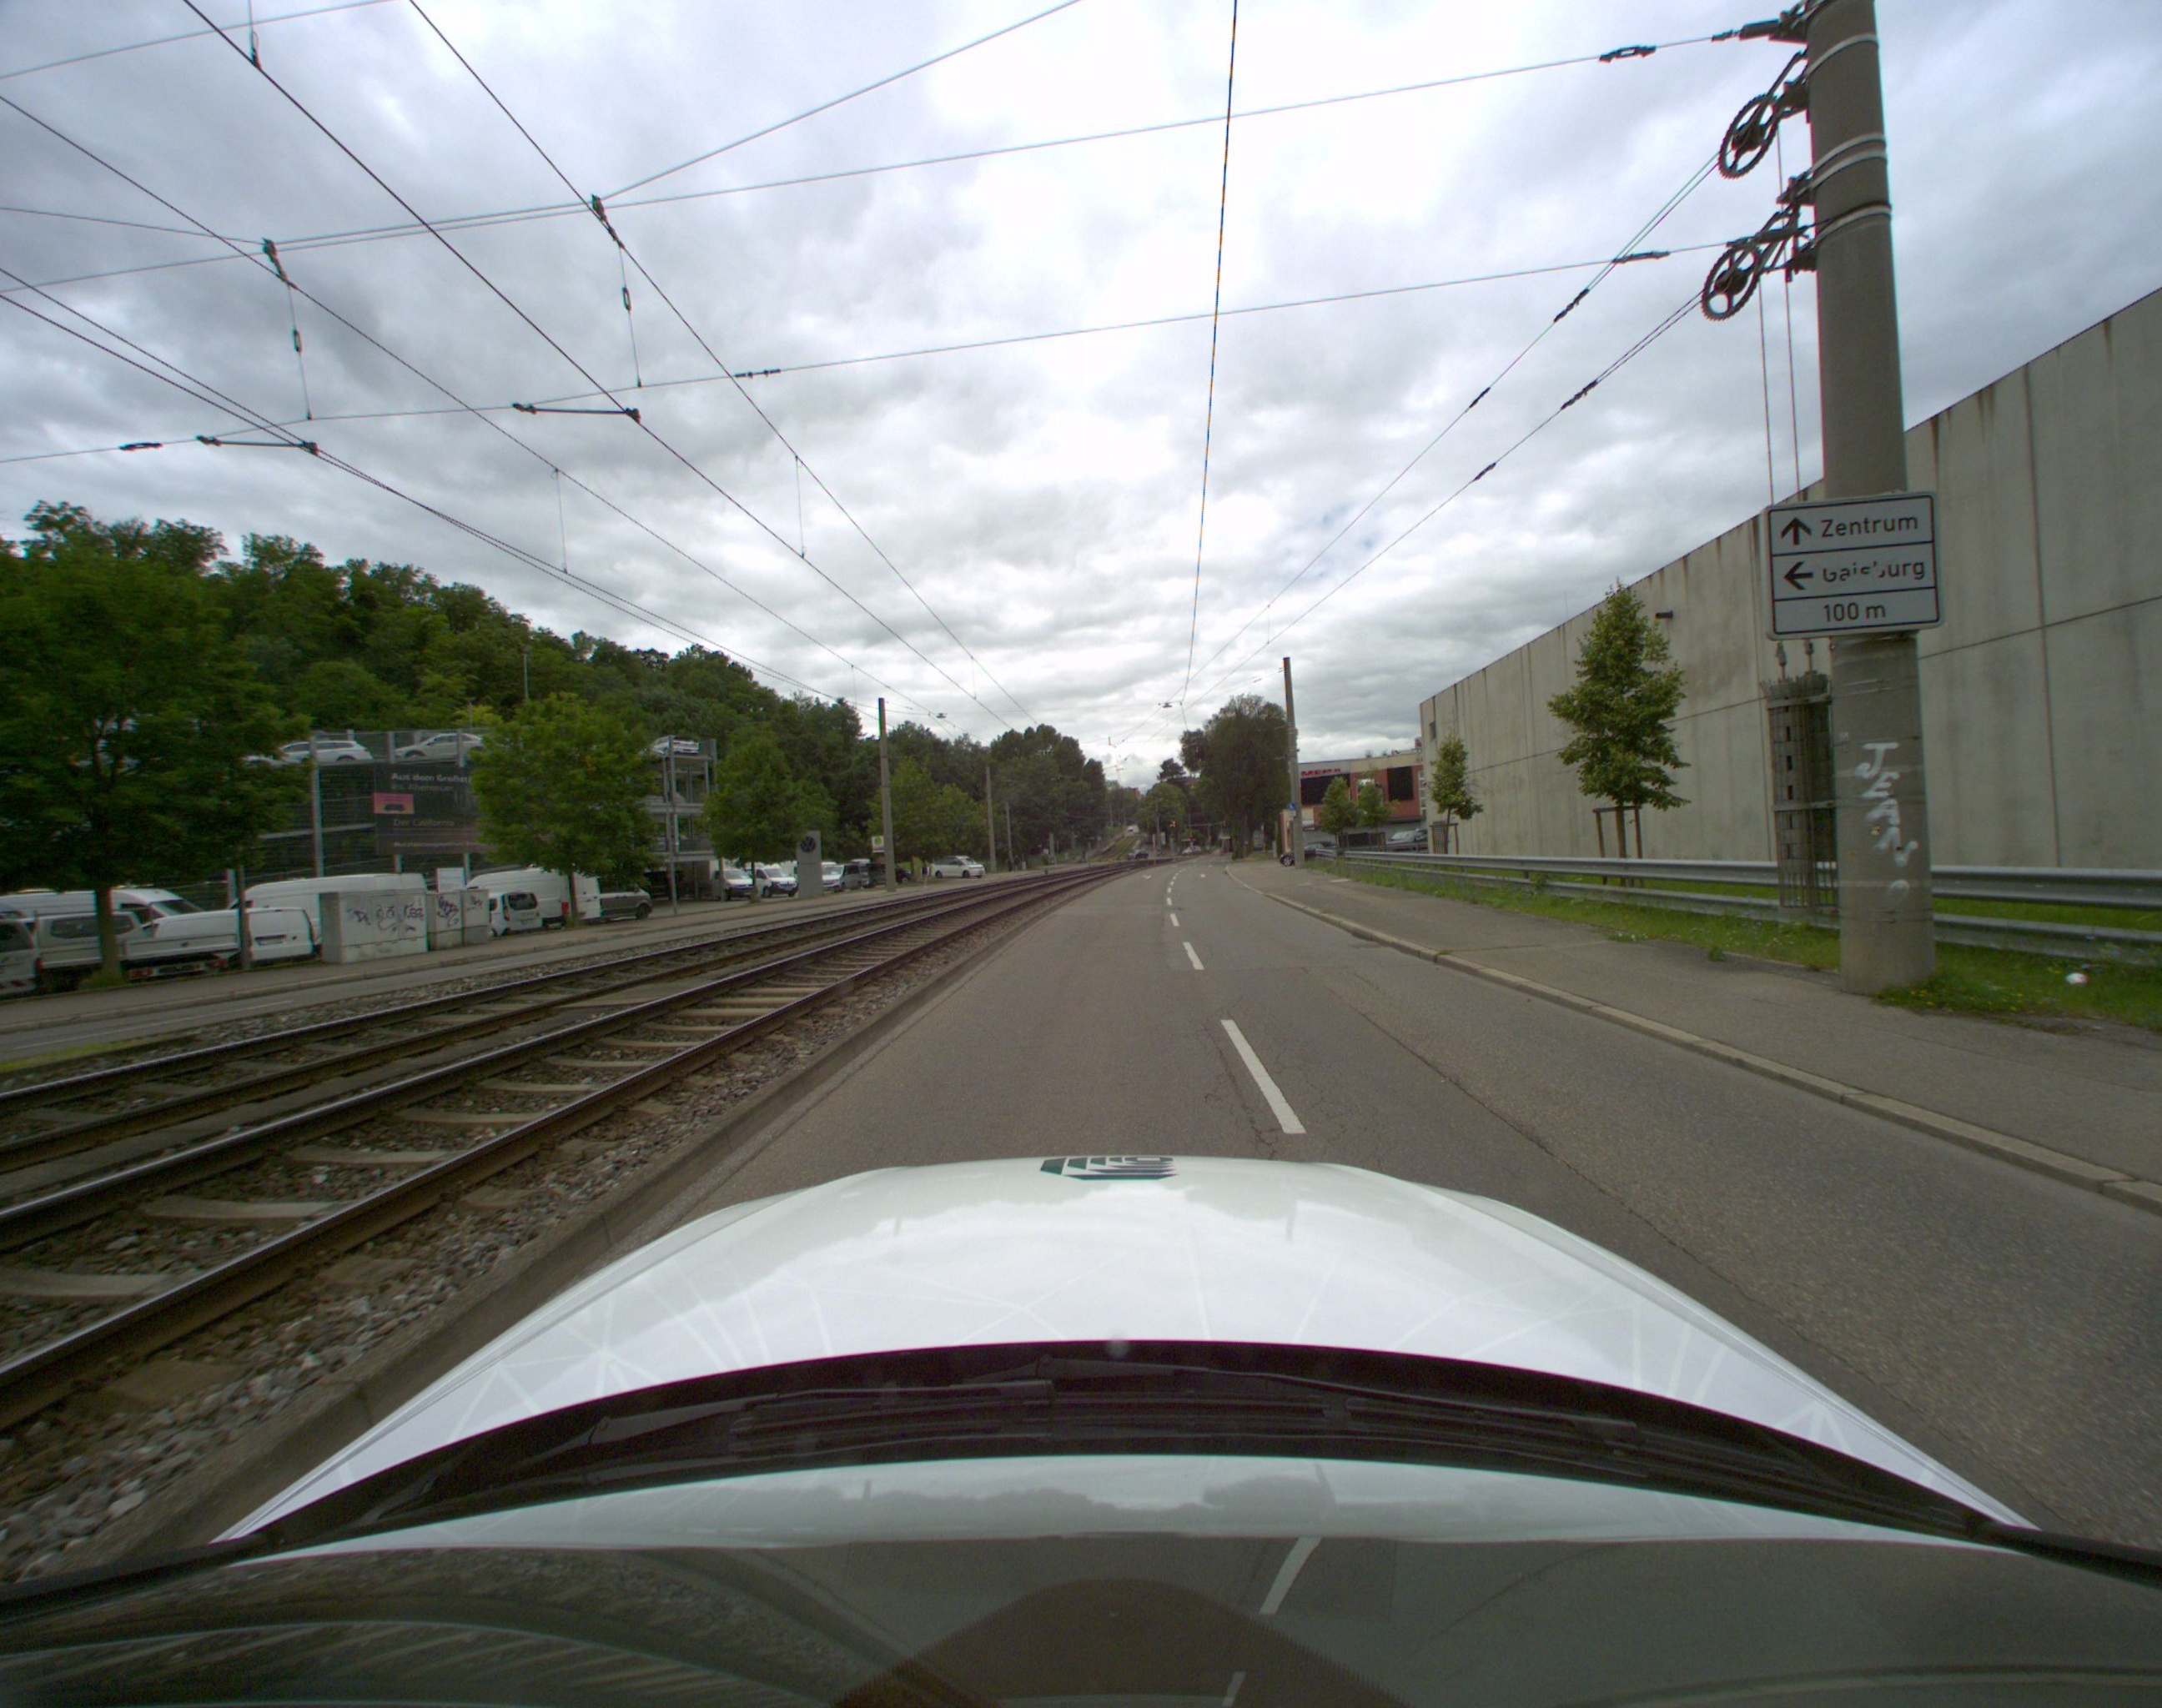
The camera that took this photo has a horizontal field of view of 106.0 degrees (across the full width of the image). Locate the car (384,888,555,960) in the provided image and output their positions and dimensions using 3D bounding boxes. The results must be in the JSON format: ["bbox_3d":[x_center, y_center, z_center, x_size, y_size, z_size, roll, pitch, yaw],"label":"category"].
[{"bbox_3d":[-21.128,2.388,28.258,4.347,2.105,2.006,-3,0,3],"label":"car"}]

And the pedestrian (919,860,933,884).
[{"bbox_3d":[-10.690,1.242,56.166,0.715,1.655,1.042,-1,0,0],"label":"pedestrian"}]

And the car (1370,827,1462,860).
[{"bbox_3d":[19.404,-0.619,47.229,4.519,1.548,2.148,-4,-1,-18],"label":"car"}]

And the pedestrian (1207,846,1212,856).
[{"bbox_3d":[23.966,-0.514,152.016,0.764,1.852,0.913,-3,-1,10],"label":"pedestrian"}]

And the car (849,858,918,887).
[{"bbox_3d":[-16.359,1.521,67.438,5.088,2.013,2.145,-3,0,-30],"label":"car"}]

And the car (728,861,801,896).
[{"bbox_3d":[-20.675,1.592,53.148,4.669,2.013,2.013,-4,0,34],"label":"car"}]

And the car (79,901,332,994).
[{"bbox_3d":[-22.263,2.349,20.837,4.347,1.910,2.006,-3,0,3],"label":"car"}]

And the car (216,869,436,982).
[{"bbox_3d":[-21.450,1.974,23.265,4.347,2.819,2.006,-3,0,3],"label":"car"}]

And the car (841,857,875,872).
[{"bbox_3d":[-32.495,1.493,118.825,1.974,2.013,4.432,-3,0,38],"label":"car"}]

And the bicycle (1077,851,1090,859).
[{"bbox_3d":[0.454,0.197,152.402,0.829,1.343,2.966,-3,0,-32],"label":"bicycle"}]

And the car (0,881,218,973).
[{"bbox_3d":[-32.984,2.376,26.747,5.959,2.602,1.989,-3,0,-23],"label":"car"}]

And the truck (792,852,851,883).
[{"bbox_3d":[-24.699,1.318,77.460,5.006,2.588,2.484,-4,0,32],"label":"truck"}]

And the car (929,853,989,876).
[{"bbox_3d":[-10.709,0.944,71.560,5.007,1.888,2.180,-1,0,33],"label":"car"}]

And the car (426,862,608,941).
[{"bbox_3d":[-21.415,1.764,31.044,5.443,2.602,2.251,-3,0,7],"label":"car"}]

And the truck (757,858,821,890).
[{"bbox_3d":[-27.091,1.839,75.565,5.703,2.588,2.484,-4,0,32],"label":"truck"}]

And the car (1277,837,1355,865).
[{"bbox_3d":[14.566,-0.166,50.526,4.178,1.443,1.775,-4,0,35],"label":"car"}]

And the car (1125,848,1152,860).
[{"bbox_3d":[8.924,-0.042,126.393,1.671,1.532,4.282,-7,-4,43],"label":"car"}]

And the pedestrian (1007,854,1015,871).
[{"bbox_3d":[-7.322,0.895,85.579,0.624,1.713,0.858,-2,0,10],"label":"pedestrian"}]

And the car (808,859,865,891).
[{"bbox_3d":[-16.991,1.412,56.817,1.984,2.013,4.927,-4,0,5],"label":"car"}]

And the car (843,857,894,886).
[{"bbox_3d":[-16.331,1.295,62.868,1.984,2.013,5.138,-4,0,6],"label":"car"}]

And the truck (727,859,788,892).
[{"bbox_3d":[-29.037,1.939,73.065,5.006,2.588,2.484,-4,0,32],"label":"truck"}]

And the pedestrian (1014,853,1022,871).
[{"bbox_3d":[-6.612,0.841,85.512,0.672,1.813,0.858,-2,0,10],"label":"pedestrian"}]

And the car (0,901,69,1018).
[{"bbox_3d":[-22.955,2.177,15.737,4.347,2.173,2.006,-3,0,3],"label":"car"}]

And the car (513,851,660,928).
[{"bbox_3d":[-21.796,1.452,36.314,2.095,3.019,5.952,-3,0,9],"label":"car"}]

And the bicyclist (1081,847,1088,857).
[{"bbox_3d":[0.580,-0.343,152.139,0.826,1.849,1.041,-3,0,-32],"label":"bicyclist"}]

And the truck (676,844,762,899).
[{"bbox_3d":[-22.665,1.126,50.930,5.861,3.085,2.134,-4,0,36],"label":"truck"}]

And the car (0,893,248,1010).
[{"bbox_3d":[-21.633,2.128,18.023,4.347,2.173,2.006,-3,0,3],"label":"car"}]
